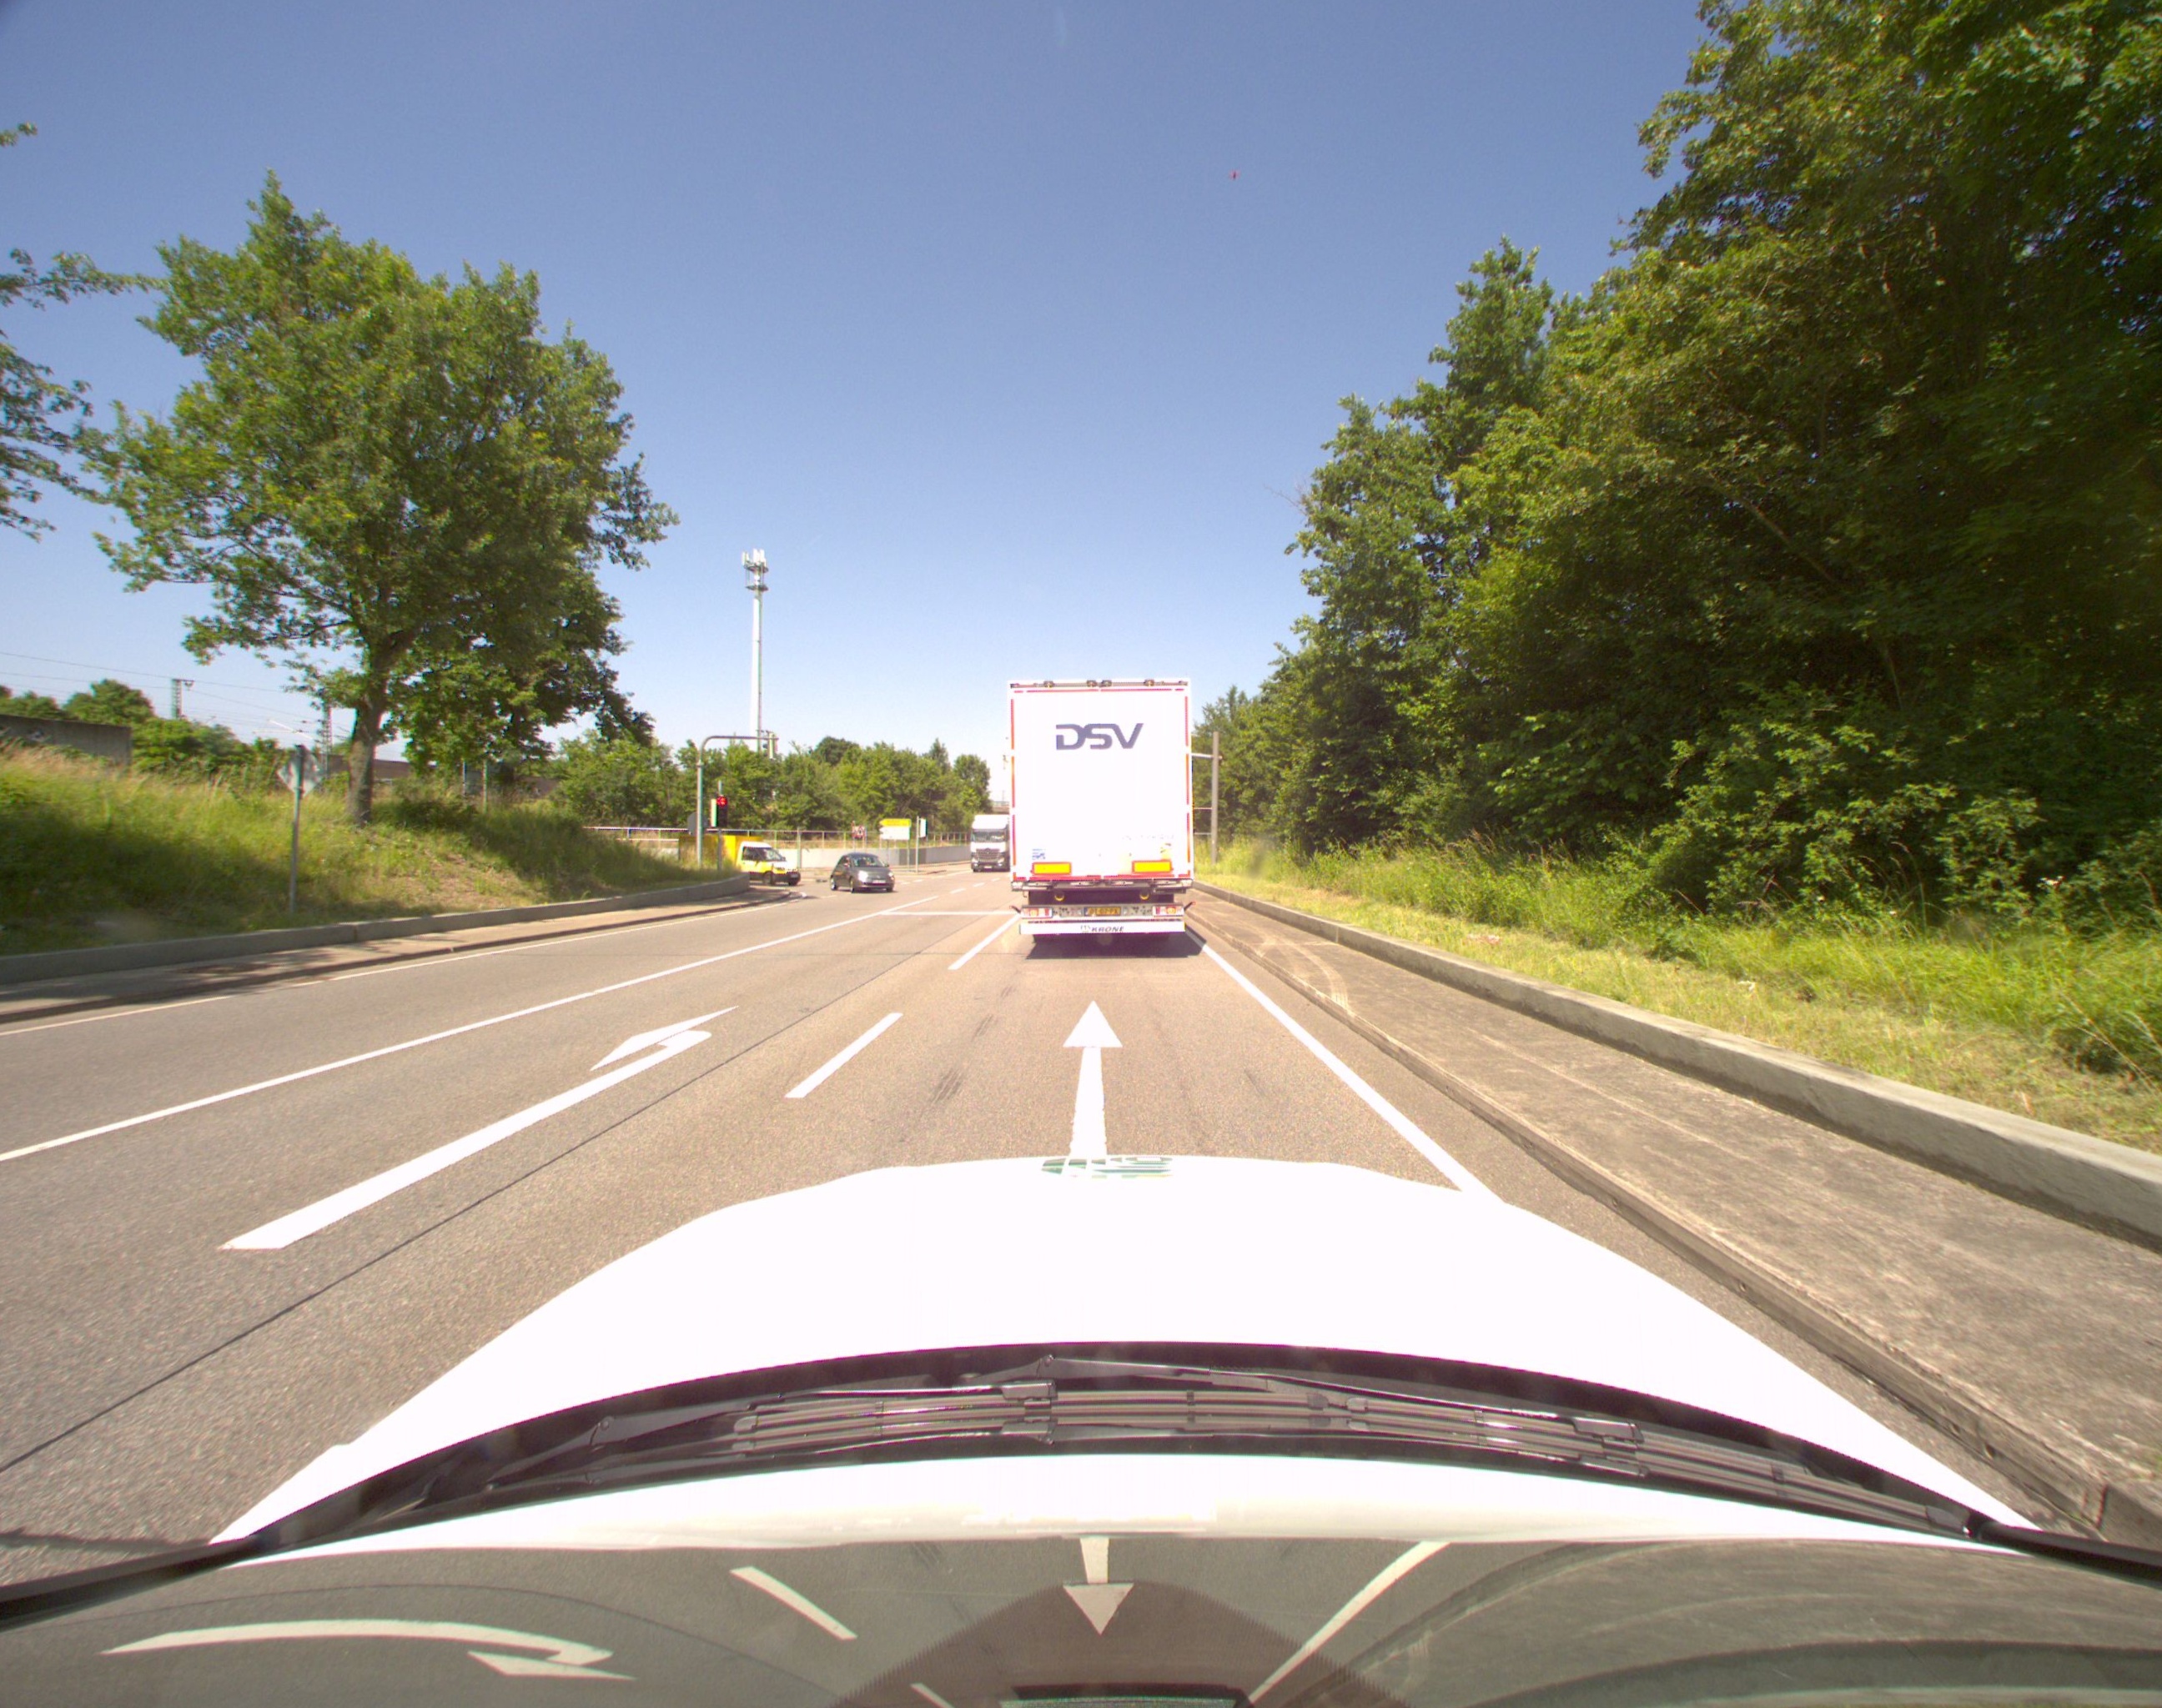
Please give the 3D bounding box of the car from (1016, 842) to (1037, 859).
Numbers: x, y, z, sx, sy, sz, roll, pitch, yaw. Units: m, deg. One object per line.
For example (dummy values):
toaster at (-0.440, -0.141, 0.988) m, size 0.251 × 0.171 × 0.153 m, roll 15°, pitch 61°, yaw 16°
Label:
car at (-5.270, -0.376, 79.249) m, size 1.741 × 1.626 × 3.704 m, roll -1°, pitch 1°, yaw 1°

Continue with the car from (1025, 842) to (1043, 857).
car at (-5.300, -0.543, 92.078) m, size 1.741 × 1.626 × 3.704 m, roll -1°, pitch 1°, yaw 1°

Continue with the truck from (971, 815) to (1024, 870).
truck at (-6.166, -0.846, 61.924) m, size 2.344 × 3.749 × 12.630 m, roll -1°, pitch 1°, yaw 2°

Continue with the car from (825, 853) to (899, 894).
car at (-8.617, 0.715, 31.884) m, size 1.599 × 1.469 × 3.560 m, roll -1°, pitch 0°, yaw -37°

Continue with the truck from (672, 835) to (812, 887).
truck at (-15.441, 0.315, 37.120) m, size 5.957 × 2.274 × 1.993 m, roll 0°, pitch 0°, yaw 17°

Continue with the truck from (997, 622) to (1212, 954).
truck at (0.483, -0.933, 16.197) m, size 2.939 × 4.568 × 9.867 m, roll 0°, pitch 0°, yaw 2°
